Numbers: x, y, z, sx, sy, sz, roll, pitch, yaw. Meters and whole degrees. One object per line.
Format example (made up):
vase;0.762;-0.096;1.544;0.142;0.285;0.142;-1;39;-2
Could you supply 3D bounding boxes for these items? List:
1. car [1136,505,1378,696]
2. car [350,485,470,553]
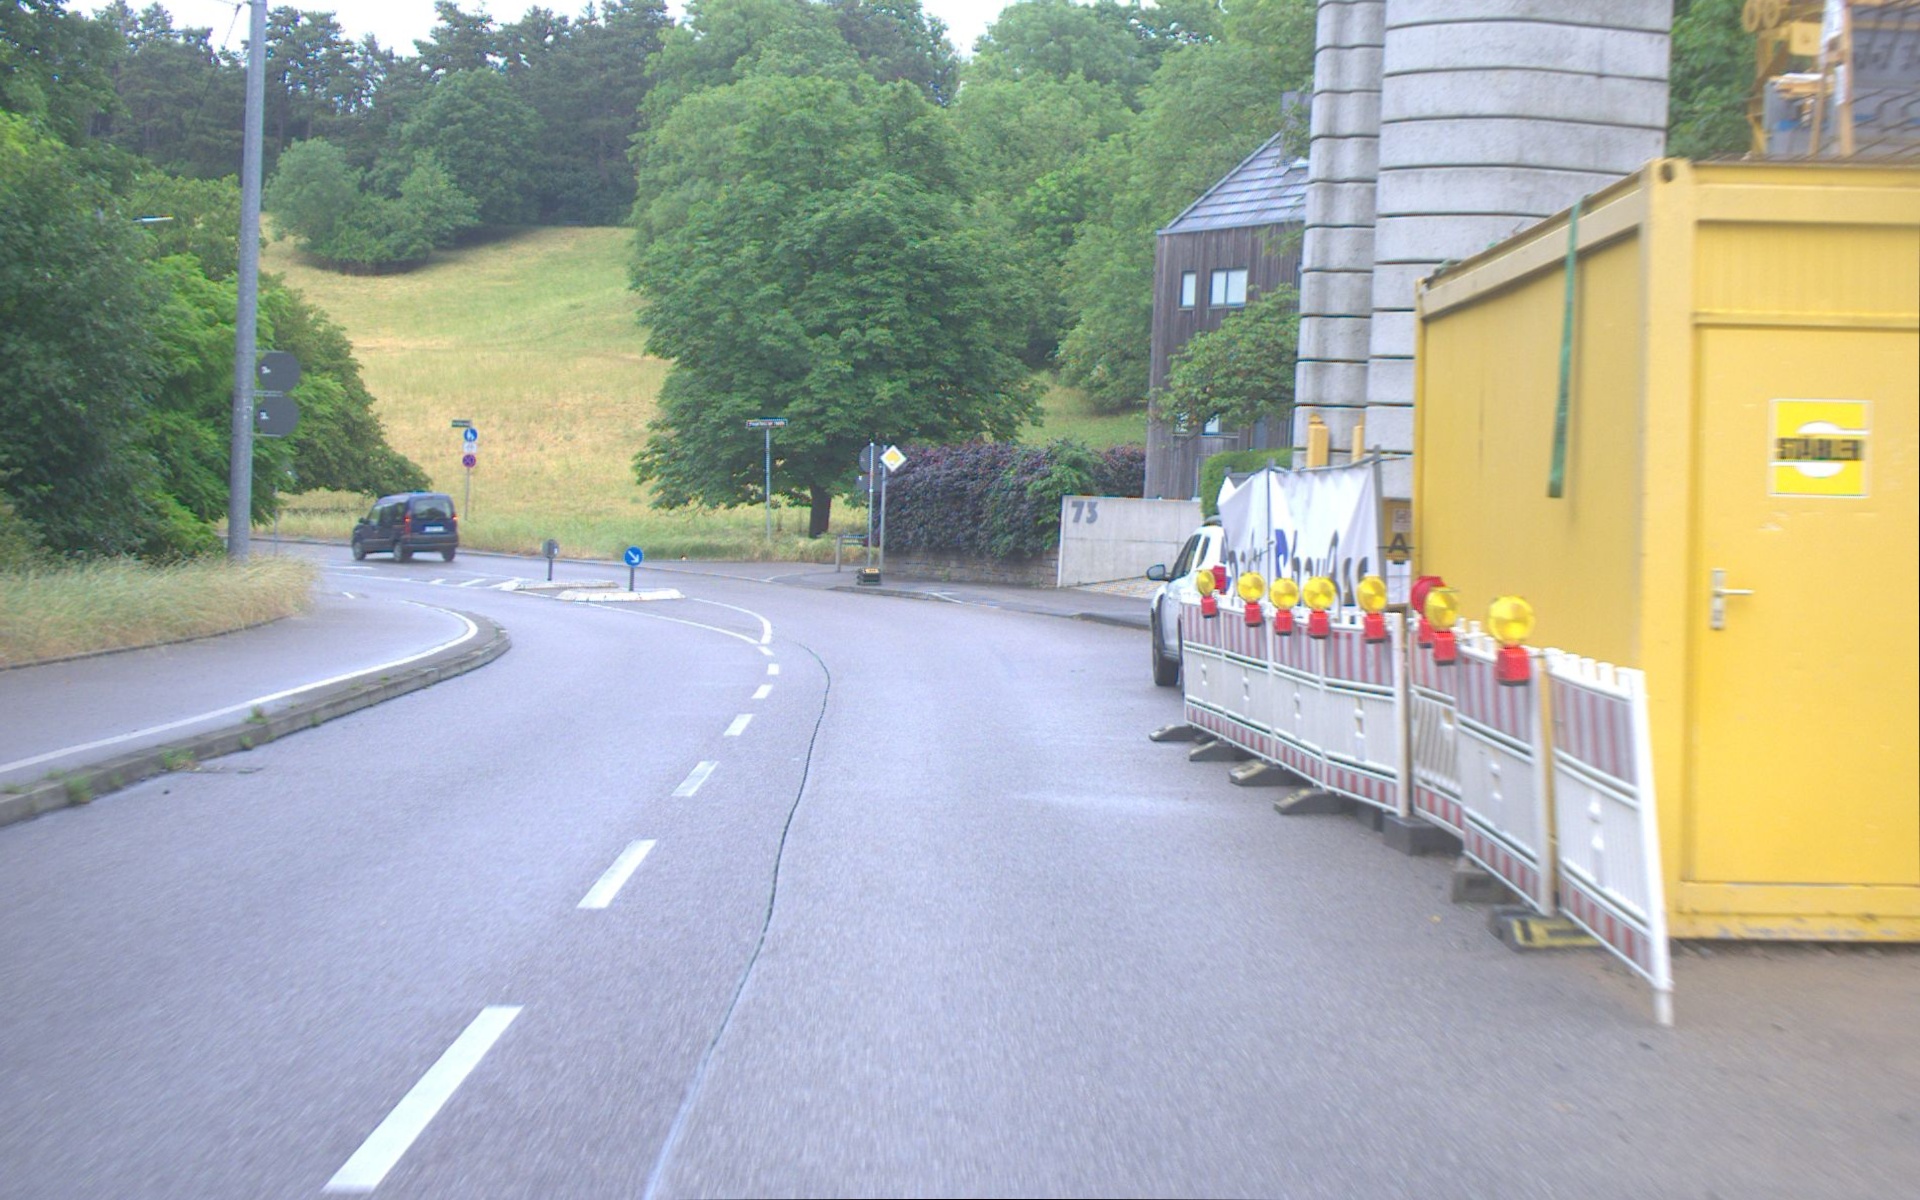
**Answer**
car;2.755;-0.046;32.828;1.745;1.700;4.502;0;1;-2
car;-14.902;-2.207;92.923;1.931;1.745;4.001;1;1;-29
